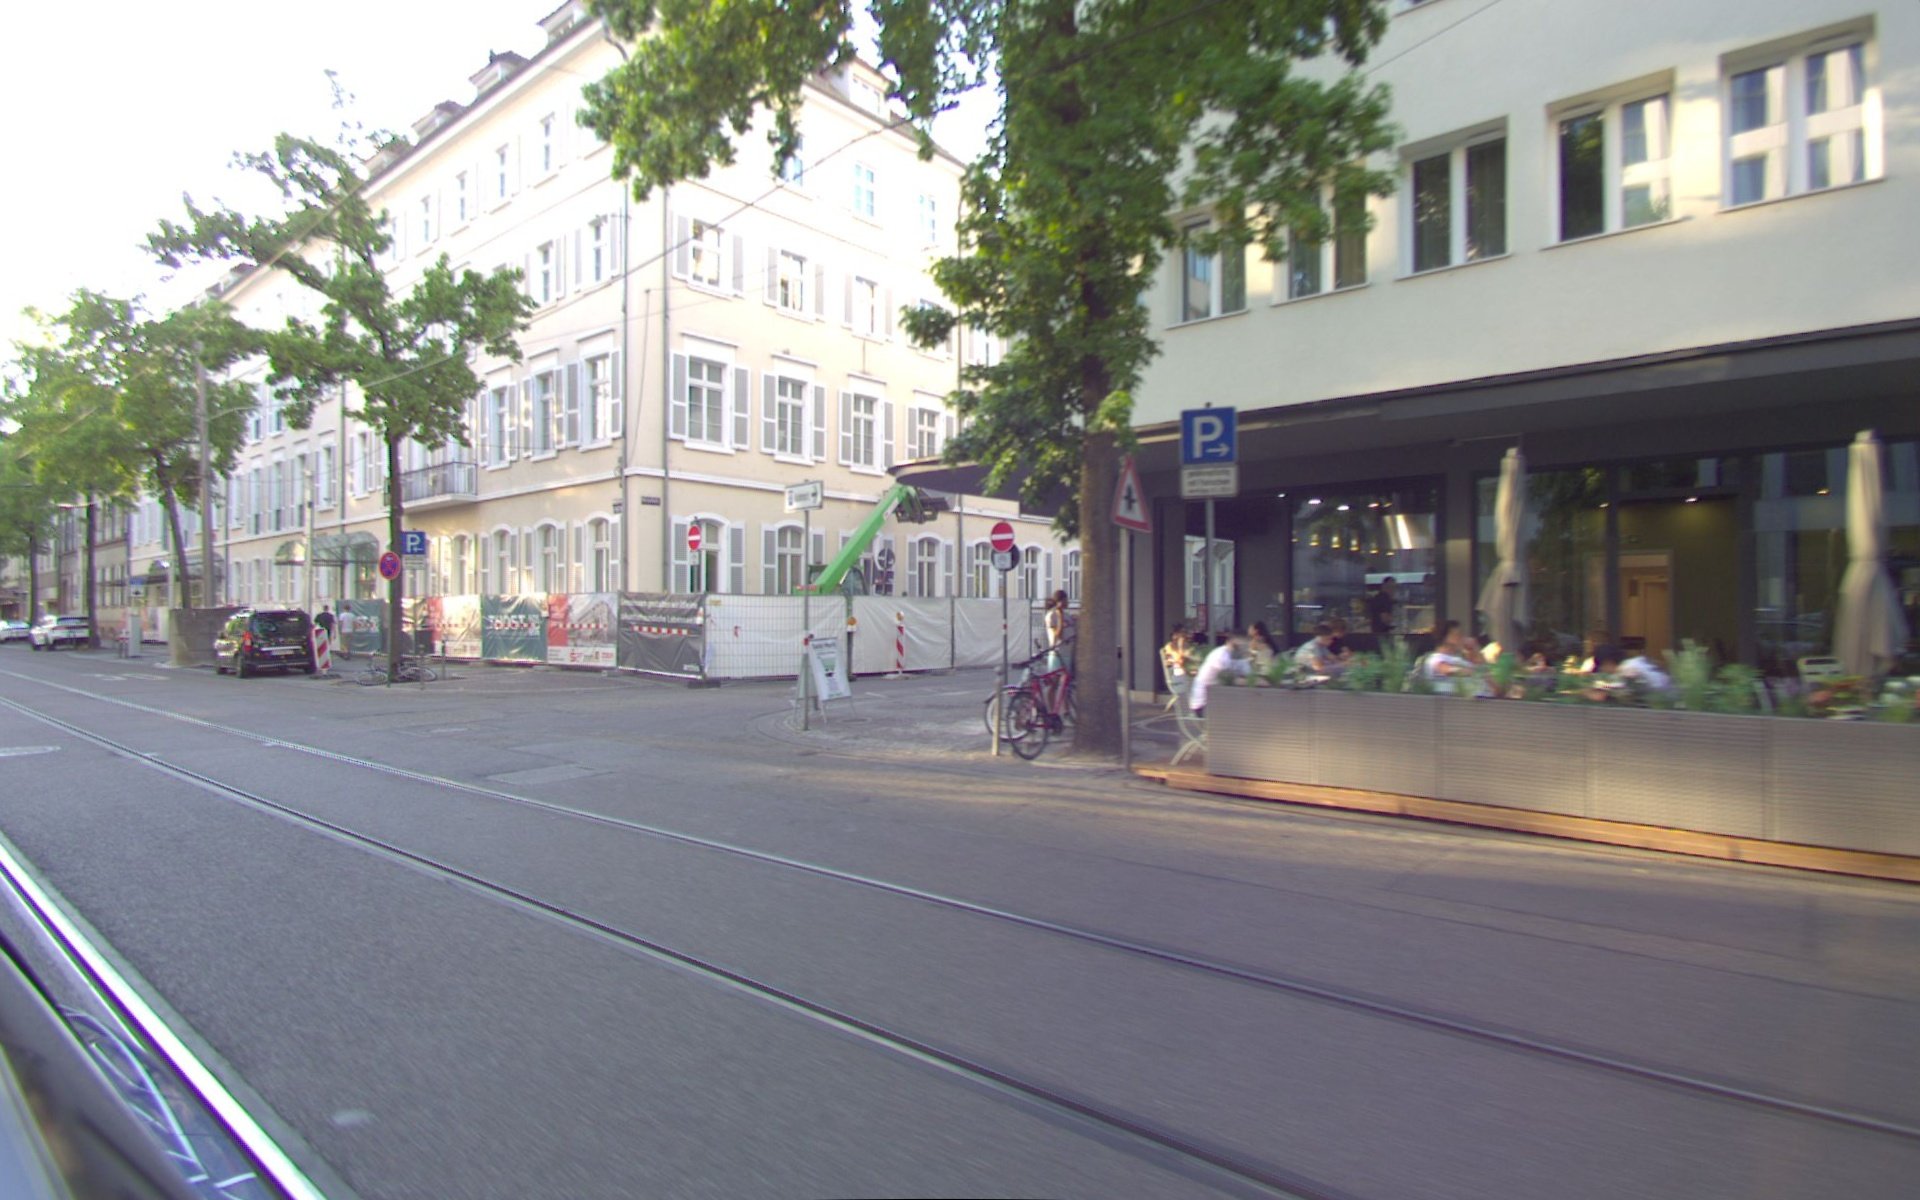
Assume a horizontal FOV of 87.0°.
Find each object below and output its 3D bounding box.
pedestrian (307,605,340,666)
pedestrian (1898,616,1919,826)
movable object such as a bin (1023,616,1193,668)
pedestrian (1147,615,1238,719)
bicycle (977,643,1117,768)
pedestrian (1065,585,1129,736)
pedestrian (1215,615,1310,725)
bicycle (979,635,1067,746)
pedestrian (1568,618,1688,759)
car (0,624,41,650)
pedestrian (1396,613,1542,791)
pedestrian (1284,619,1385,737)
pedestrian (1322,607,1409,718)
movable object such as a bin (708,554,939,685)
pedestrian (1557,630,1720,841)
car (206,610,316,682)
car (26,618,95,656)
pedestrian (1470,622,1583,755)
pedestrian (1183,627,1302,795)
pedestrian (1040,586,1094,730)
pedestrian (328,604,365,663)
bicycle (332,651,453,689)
[{"bbox_3d":[-20.513,1.127,32.596,0.769,1.899,0.670,-1,1,41],"label":"pedestrian"},{"bbox_3d":[6.862,0.796,6.642,1.012,1.372,0.708,-1,0,43],"label":"pedestrian"},{"bbox_3d":[5.557,1.463,36.847,2.897,1.677,7.198,0,-2,39],"label":"movable object such as a bin"},{"bbox_3d":[3.152,0.876,13.738,0.882,1.330,0.875,0,0,44],"label":"pedestrian"},{"bbox_3d":[0.975,1.083,10.909,0.626,1.147,1.843,0,0,37],"label":"bicycle"},{"bbox_3d":[1.643,0.707,12.196,0.632,1.754,0.782,0,0,-2],"label":"pedestrian"},{"bbox_3d":[3.887,0.865,12.988,0.882,1.330,0.838,0,0,44],"label":"pedestrian"},{"bbox_3d":[0.788,1.024,12.057,0.772,1.147,1.859,0,0,12],"label":"bicycle"},{"bbox_3d":[6.796,0.858,10.300,0.882,1.330,0.838,0,0,44],"label":"pedestrian"},{"bbox_3d":[-57.328,2.224,61.301,4.102,1.514,1.973,-1,-1,40],"label":"car"},{"bbox_3d":[4.245,0.803,8.444,0.924,1.372,0.708,-1,0,43],"label":"pedestrian"},{"bbox_3d":[4.543,0.907,12.285,0.882,1.330,0.875,0,0,44],"label":"pedestrian"},{"bbox_3d":[5.093,0.761,12.721,0.842,1.330,0.615,0,0,44],"label":"pedestrian"},{"bbox_3d":[-3.269,0.487,25.398,2.640,2.894,5.493,0,-1,38],"label":"movable object such as a bin"},{"bbox_3d":[4.877,0.918,7.282,0.871,1.372,0.708,-1,0,42],"label":"pedestrian"},{"bbox_3d":[-19.411,1.233,28.045,3.879,1.778,1.748,-1,1,44],"label":"car"},{"bbox_3d":[-43.628,1.767,49.081,4.102,1.751,1.973,-1,-1,40],"label":"car"},{"bbox_3d":[6.124,0.915,10.937,0.882,1.330,0.875,0,0,44],"label":"pedestrian"},{"bbox_3d":[2.521,0.945,9.025,0.792,1.388,0.685,-1,0,42],"label":"pedestrian"},{"bbox_3d":[1.364,0.707,12.817,0.634,1.754,0.779,0,0,10],"label":"pedestrian"},{"bbox_3d":[-20.136,1.079,33.220,0.880,1.899,0.749,-1,1,41],"label":"pedestrian"},{"bbox_3d":[-12.918,1.565,23.085,1.327,0.711,2.053,-1,0,34],"label":"bicycle"}]
